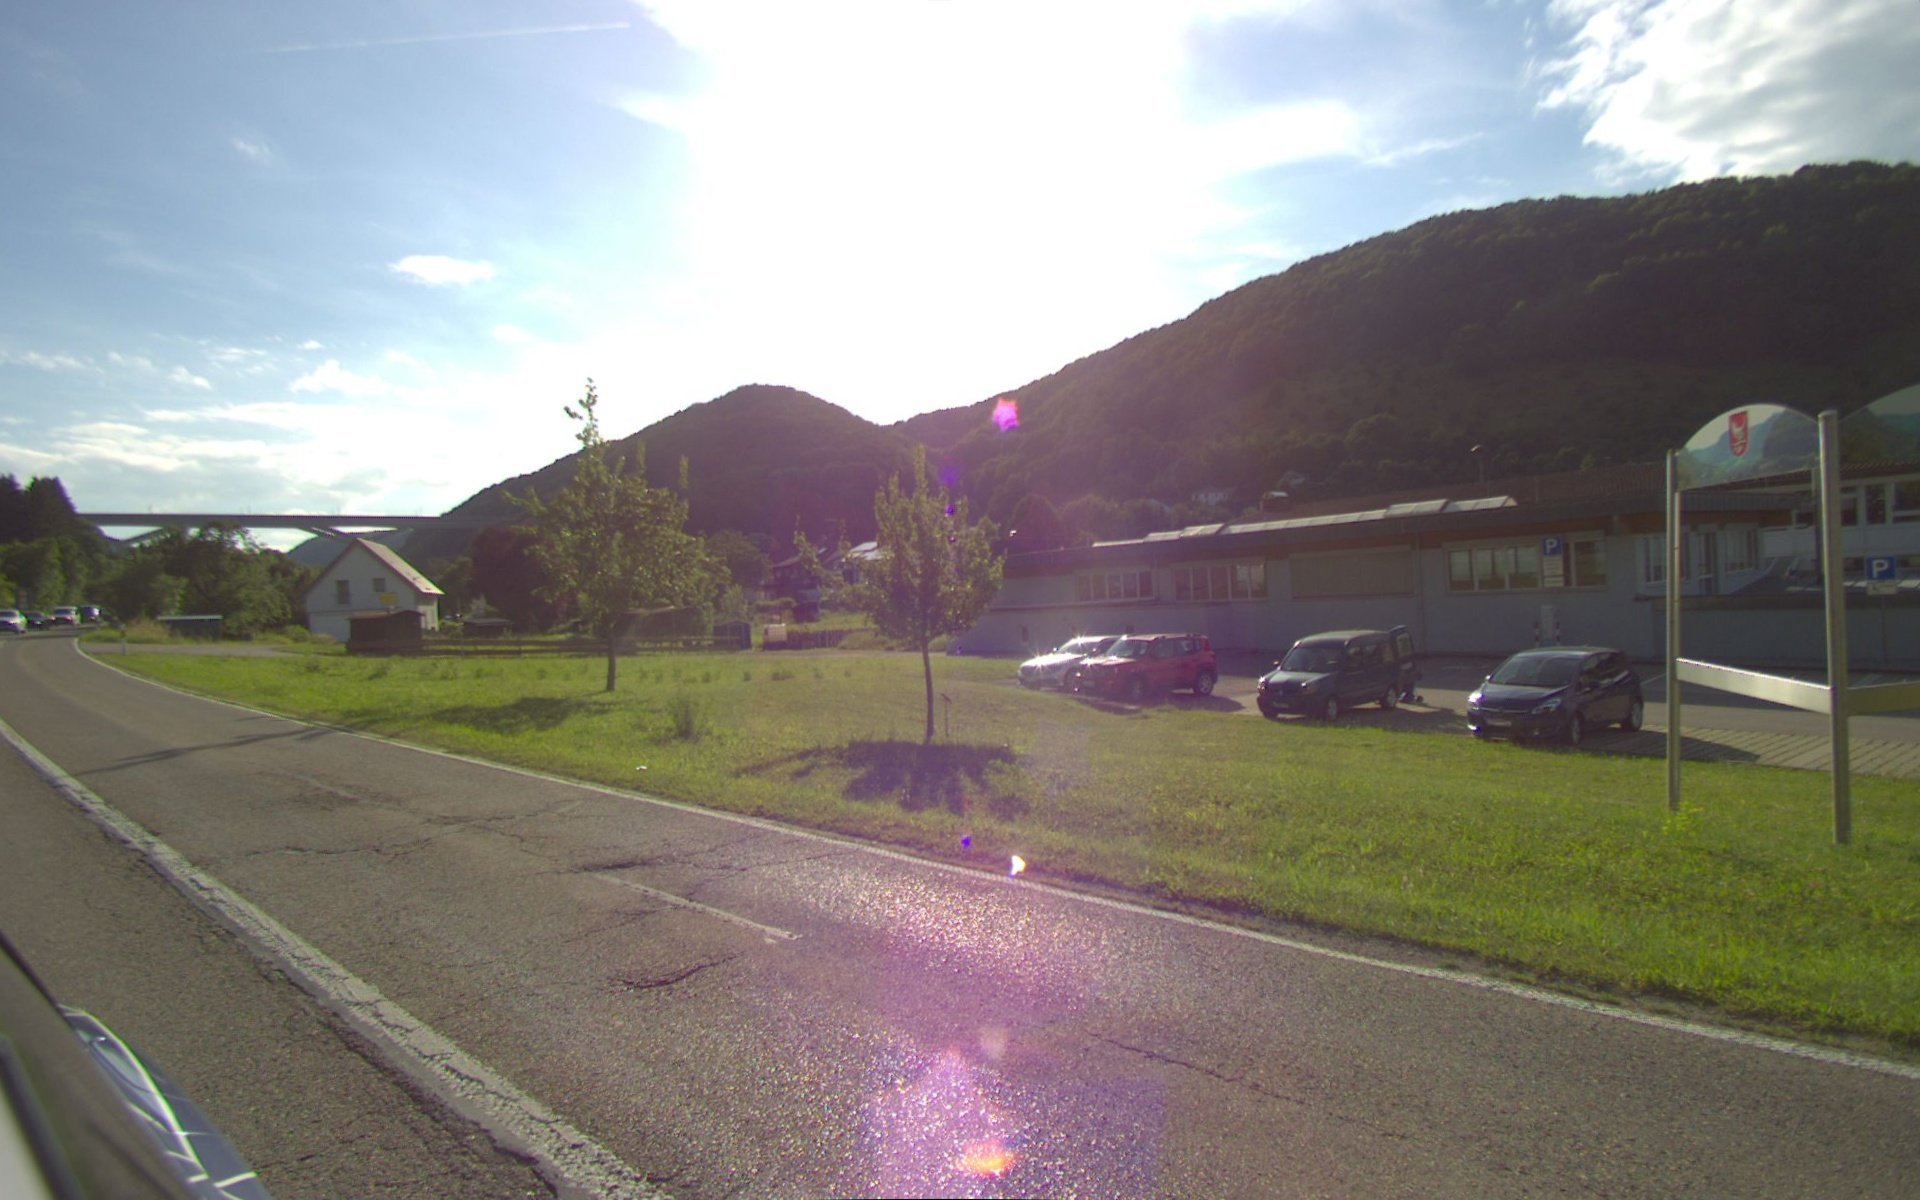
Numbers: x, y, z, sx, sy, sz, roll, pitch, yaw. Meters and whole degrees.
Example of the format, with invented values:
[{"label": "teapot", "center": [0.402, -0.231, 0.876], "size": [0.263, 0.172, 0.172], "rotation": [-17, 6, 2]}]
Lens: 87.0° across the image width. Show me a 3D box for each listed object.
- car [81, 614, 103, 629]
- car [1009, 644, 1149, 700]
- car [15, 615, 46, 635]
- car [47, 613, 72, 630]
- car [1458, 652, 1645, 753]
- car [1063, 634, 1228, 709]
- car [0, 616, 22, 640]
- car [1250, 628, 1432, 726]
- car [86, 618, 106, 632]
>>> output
[{"label": "car", "center": [-90.381, 2.223, 105.420], "size": [1.605, 1.490, 3.686], "rotation": [-1, 0, -40]}, {"label": "car", "center": [3.491, 2.040, 29.440], "size": [3.836, 1.379, 1.857], "rotation": [0, 0, -38]}, {"label": "car", "center": [-72.431, 1.913, 78.883], "size": [1.605, 1.490, 3.686], "rotation": [-1, 0, -40]}, {"label": "car", "center": [-82.220, 1.968, 92.404], "size": [1.607, 1.490, 3.682], "rotation": [-1, 0, -44]}, {"label": "car", "center": [10.840, 1.776, 18.445], "size": [3.958, 1.463, 1.687], "rotation": [-1, -2, -41]}, {"label": "car", "center": [4.979, 1.833, 26.954], "size": [4.263, 1.682, 1.852], "rotation": [-1, 0, -35]}, {"label": "car", "center": [-63.112, 1.835, 66.710], "size": [3.680, 1.490, 1.608], "rotation": [-1, 0, 44]}, {"label": "car", "center": [8.676, 1.631, 22.829], "size": [4.930, 1.807, 1.687], "rotation": [-1, 0, -41]}, {"label": "car", "center": [-98.101, 2.818, 114.942], "size": [1.605, 1.490, 3.686], "rotation": [-1, 0, -40]}]
